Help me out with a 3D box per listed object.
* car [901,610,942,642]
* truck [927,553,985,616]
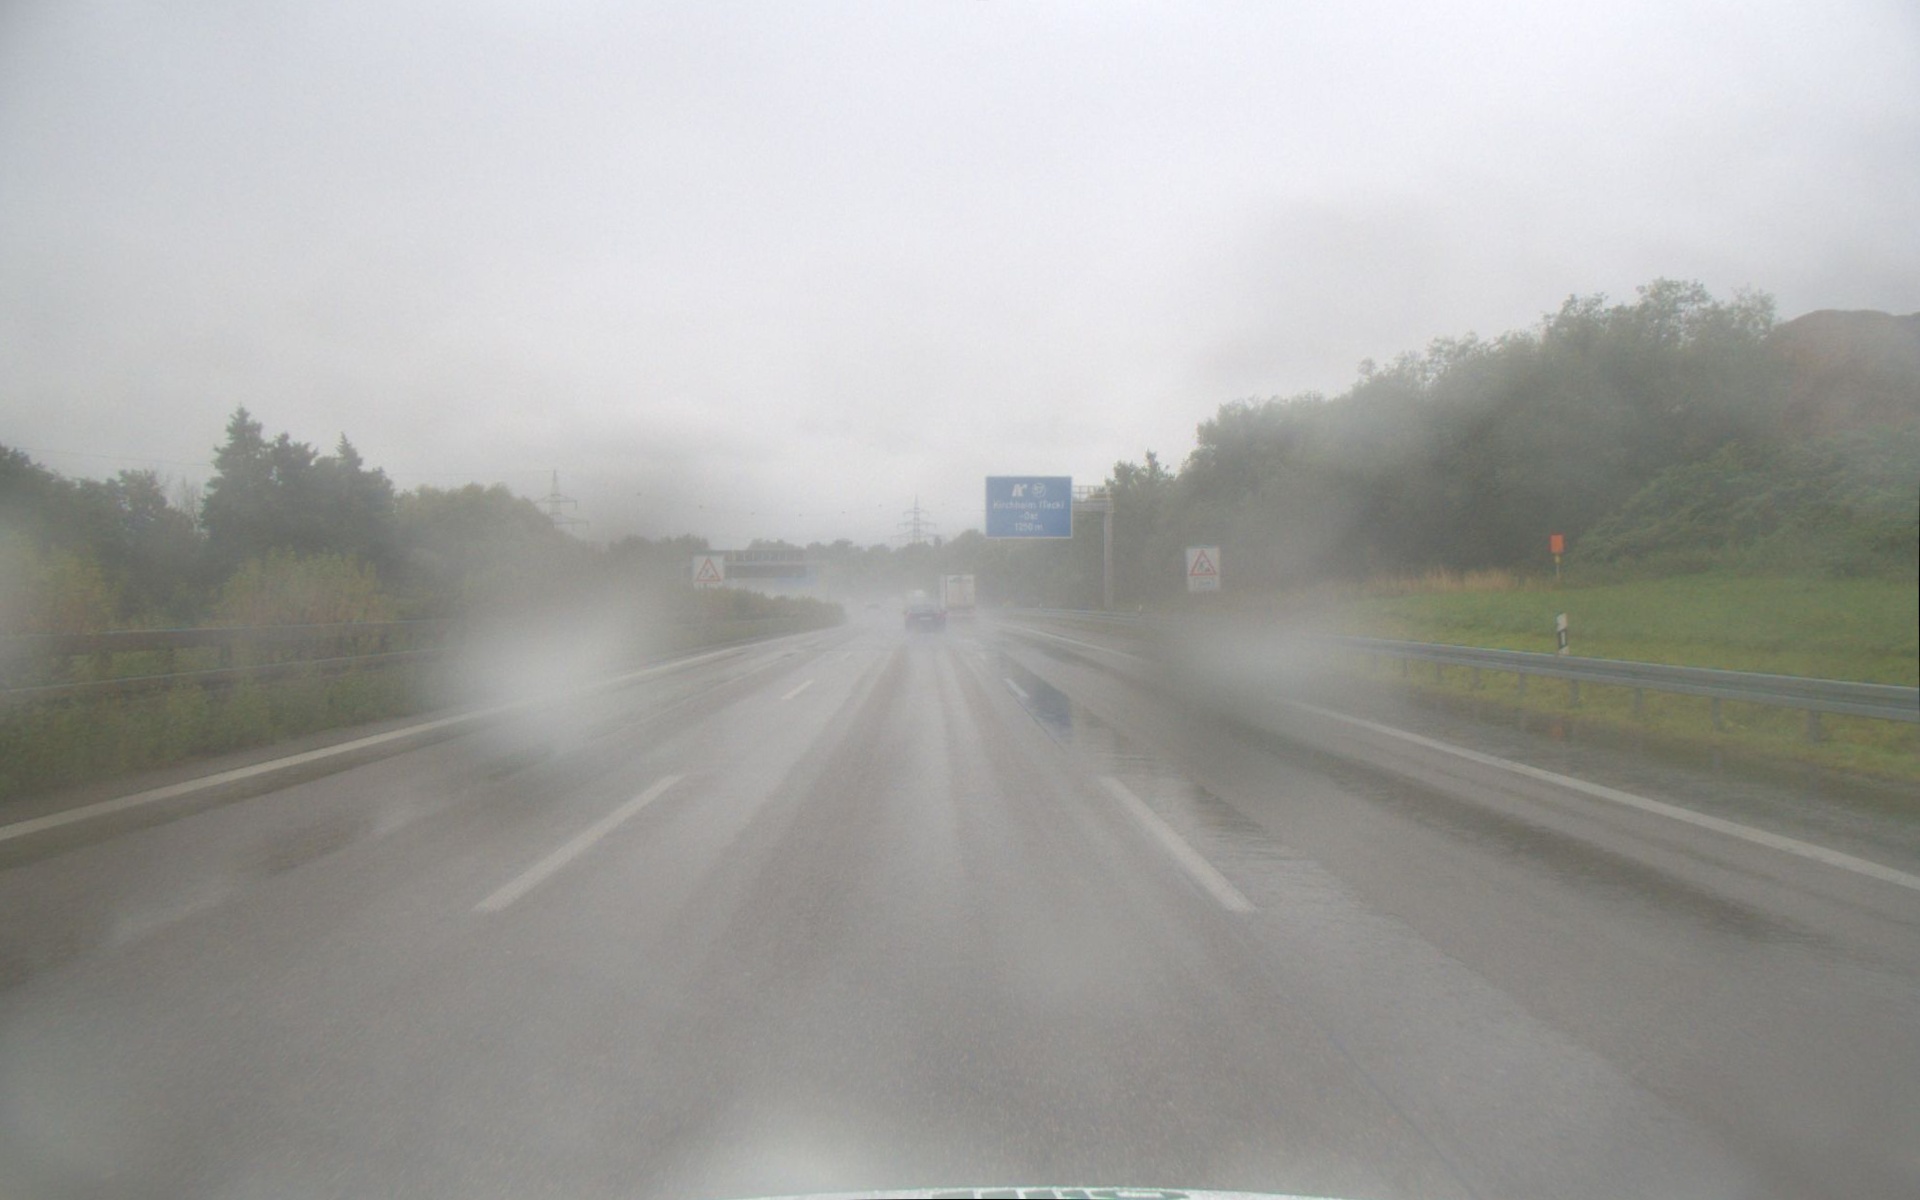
[{"bbox_3d":[-1.683,1.101,71.301,1.713,1.233,3.998,-1,0,-2],"label":"car"},{"bbox_3d":[-0.495,-1.400,147.386,4.172,5.058,17.331,-3,1,-3],"label":"truck"}]
